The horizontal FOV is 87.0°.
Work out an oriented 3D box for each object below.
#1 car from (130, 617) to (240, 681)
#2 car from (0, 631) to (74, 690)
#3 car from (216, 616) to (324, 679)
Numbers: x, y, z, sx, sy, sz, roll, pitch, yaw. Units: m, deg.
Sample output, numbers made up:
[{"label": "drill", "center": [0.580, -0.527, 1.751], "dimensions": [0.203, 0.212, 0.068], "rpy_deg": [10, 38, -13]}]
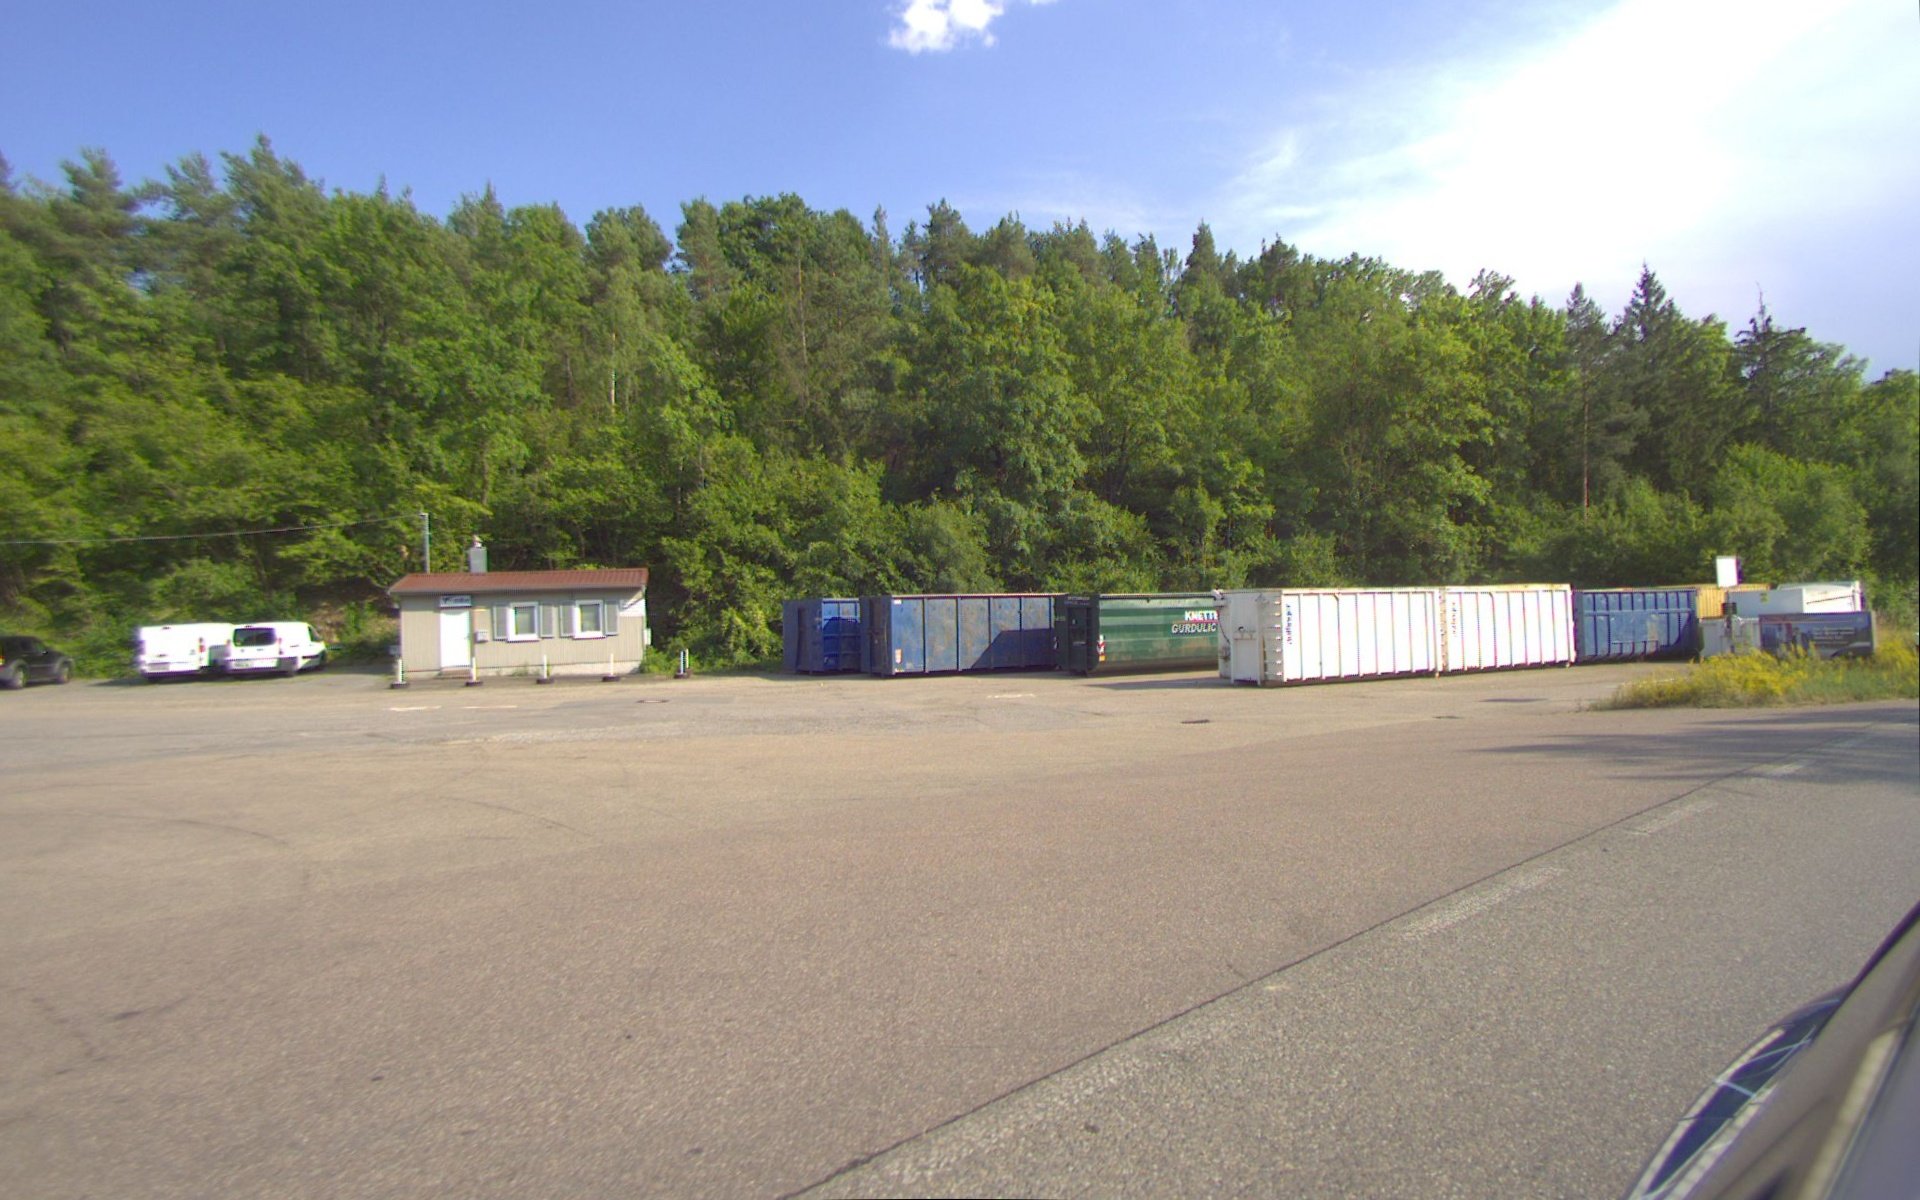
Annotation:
[{"label": "car", "center": [-26.872, 1.655, 35.268], "dimensions": [1.958, 2.039, 4.105], "rpy_deg": [-1, -1, -21]}, {"label": "car", "center": [-31.613, 1.958, 33.429], "dimensions": [1.954, 1.695, 4.566], "rpy_deg": [-1, 0, -19]}, {"label": "car", "center": [-24.462, 1.646, 36.051], "dimensions": [1.958, 2.039, 4.567], "rpy_deg": [-1, -1, -18]}]
